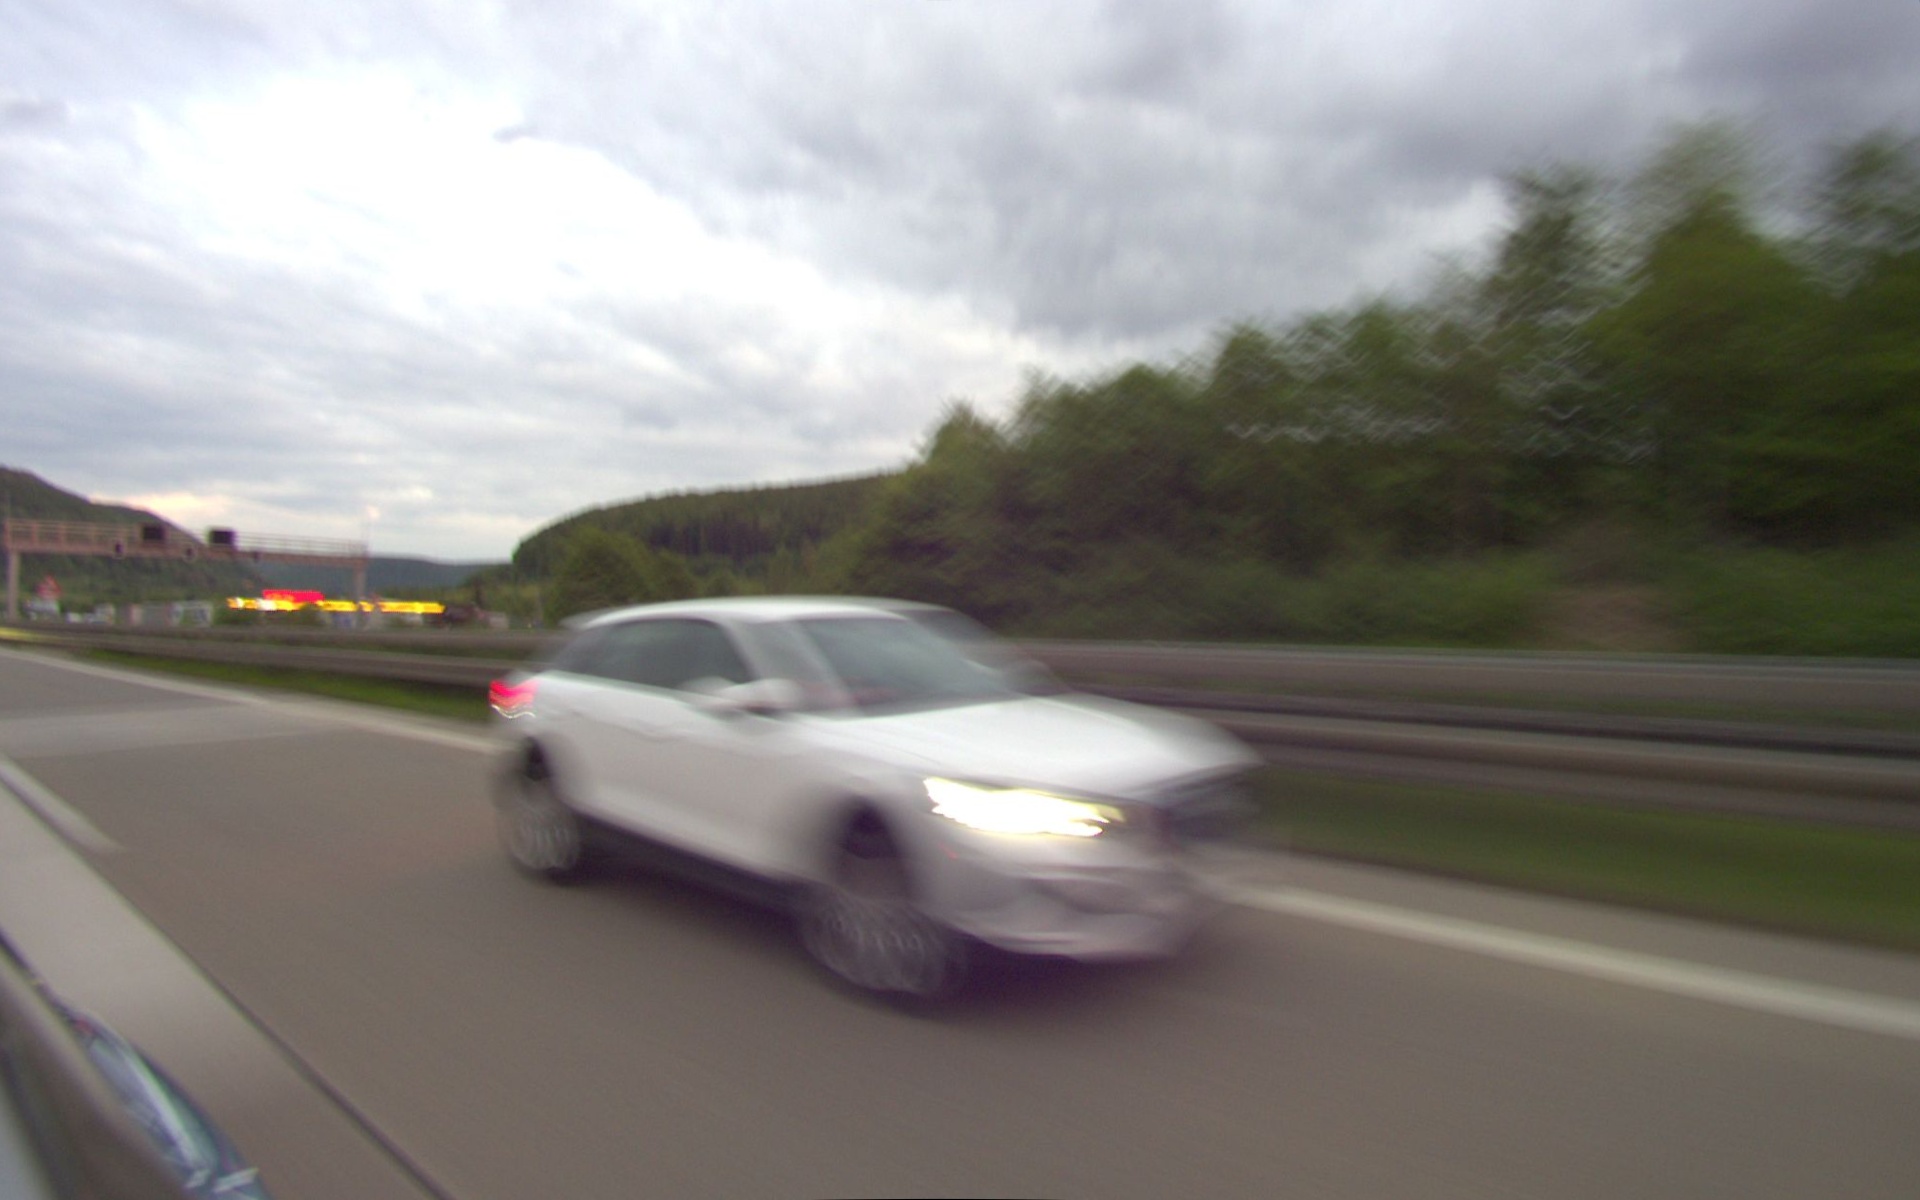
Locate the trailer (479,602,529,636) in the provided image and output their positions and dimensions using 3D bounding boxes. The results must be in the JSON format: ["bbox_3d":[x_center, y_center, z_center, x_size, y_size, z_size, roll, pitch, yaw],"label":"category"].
[{"bbox_3d":[-58.185,2.468,129.562,3.235,4.137,14.484,1,-2,-14],"label":"trailer"}]

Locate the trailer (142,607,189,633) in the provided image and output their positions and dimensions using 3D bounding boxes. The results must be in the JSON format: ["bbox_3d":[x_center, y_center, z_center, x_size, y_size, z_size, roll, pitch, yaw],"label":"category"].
[{"bbox_3d":[-111.379,2.843,141.761,13.847,3.451,2.842,-1,-2,42],"label":"trailer"}]

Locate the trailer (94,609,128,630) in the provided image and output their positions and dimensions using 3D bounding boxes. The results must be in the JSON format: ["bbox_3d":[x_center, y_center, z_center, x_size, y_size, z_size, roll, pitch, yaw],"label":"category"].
[{"bbox_3d":[-144.268,3.346,171.912,13.223,3.451,2.842,-1,-2,43],"label":"trailer"}]

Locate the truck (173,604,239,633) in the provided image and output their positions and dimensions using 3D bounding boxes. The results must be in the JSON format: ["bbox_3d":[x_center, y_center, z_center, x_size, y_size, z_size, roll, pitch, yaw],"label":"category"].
[{"bbox_3d":[-93.506,2.292,125.303,13.767,3.451,2.847,-1,-1,37],"label":"truck"}]

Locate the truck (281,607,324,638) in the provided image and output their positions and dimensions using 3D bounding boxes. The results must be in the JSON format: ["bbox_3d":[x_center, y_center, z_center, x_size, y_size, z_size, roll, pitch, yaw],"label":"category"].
[{"bbox_3d":[-95.711,3.252,147.302,8.862,4.292,2.986,-1,-2,42],"label":"truck"}]

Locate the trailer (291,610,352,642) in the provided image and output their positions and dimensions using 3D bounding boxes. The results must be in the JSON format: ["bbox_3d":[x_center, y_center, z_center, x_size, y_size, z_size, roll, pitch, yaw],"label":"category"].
[{"bbox_3d":[-89.686,3.609,141.923,15.942,4.292,2.986,-1,-2,42],"label":"trailer"}]

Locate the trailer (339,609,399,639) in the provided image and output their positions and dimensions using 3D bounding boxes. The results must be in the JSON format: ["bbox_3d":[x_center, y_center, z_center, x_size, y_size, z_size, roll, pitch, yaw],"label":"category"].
[{"bbox_3d":[-75.237,3.071,128.617,12.713,3.707,2.843,-1,-2,42],"label":"trailer"}]

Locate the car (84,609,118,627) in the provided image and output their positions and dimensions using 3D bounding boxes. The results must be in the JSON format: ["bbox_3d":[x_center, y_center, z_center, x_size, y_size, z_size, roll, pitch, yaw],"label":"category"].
[{"bbox_3d":[-78.041,1.625,91.916,4.642,1.598,1.711,-1,-1,41],"label":"car"}]

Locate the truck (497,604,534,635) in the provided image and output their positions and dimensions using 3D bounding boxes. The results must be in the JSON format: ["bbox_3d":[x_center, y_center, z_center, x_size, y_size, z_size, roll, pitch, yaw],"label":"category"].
[{"bbox_3d":[-59.922,2.662,136.588,3.235,4.137,8.238,1,-2,-14],"label":"truck"}]

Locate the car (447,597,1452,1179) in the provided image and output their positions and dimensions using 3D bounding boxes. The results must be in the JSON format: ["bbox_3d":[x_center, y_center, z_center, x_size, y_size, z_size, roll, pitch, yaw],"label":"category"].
[{"bbox_3d":[-0.541,0.783,4.969,5.035,1.512,1.771,-1,-1,41],"label":"car"}]

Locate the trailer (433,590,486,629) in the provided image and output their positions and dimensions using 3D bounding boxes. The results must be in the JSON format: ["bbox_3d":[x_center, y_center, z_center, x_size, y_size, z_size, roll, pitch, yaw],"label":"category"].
[{"bbox_3d":[-50.636,1.060,102.713,3.018,3.707,13.384,0,-1,-19],"label":"trailer"}]

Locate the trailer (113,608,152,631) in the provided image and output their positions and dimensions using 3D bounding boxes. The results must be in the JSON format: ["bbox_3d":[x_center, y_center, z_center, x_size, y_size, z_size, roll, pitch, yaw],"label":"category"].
[{"bbox_3d":[-129.870,3.086,158.687,13.568,3.451,2.842,-1,-2,42],"label":"trailer"}]

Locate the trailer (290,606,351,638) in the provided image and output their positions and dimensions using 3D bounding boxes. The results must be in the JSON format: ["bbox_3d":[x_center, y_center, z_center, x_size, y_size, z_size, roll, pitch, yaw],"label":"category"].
[{"bbox_3d":[-89.732,3.131,141.882,15.942,4.292,2.986,-1,-2,42],"label":"trailer"}]

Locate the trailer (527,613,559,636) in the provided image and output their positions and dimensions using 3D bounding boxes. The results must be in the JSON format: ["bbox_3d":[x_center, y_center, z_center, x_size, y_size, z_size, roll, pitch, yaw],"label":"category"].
[{"bbox_3d":[-67.018,3.953,162.861,2.891,3.546,13.456,1,-2,-15],"label":"trailer"}]

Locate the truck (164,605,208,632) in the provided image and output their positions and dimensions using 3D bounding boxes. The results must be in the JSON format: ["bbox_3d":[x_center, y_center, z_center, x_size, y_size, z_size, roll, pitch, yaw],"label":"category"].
[{"bbox_3d":[-99.139,2.389,129.646,6.716,3.451,2.846,-1,-1,38],"label":"truck"}]
